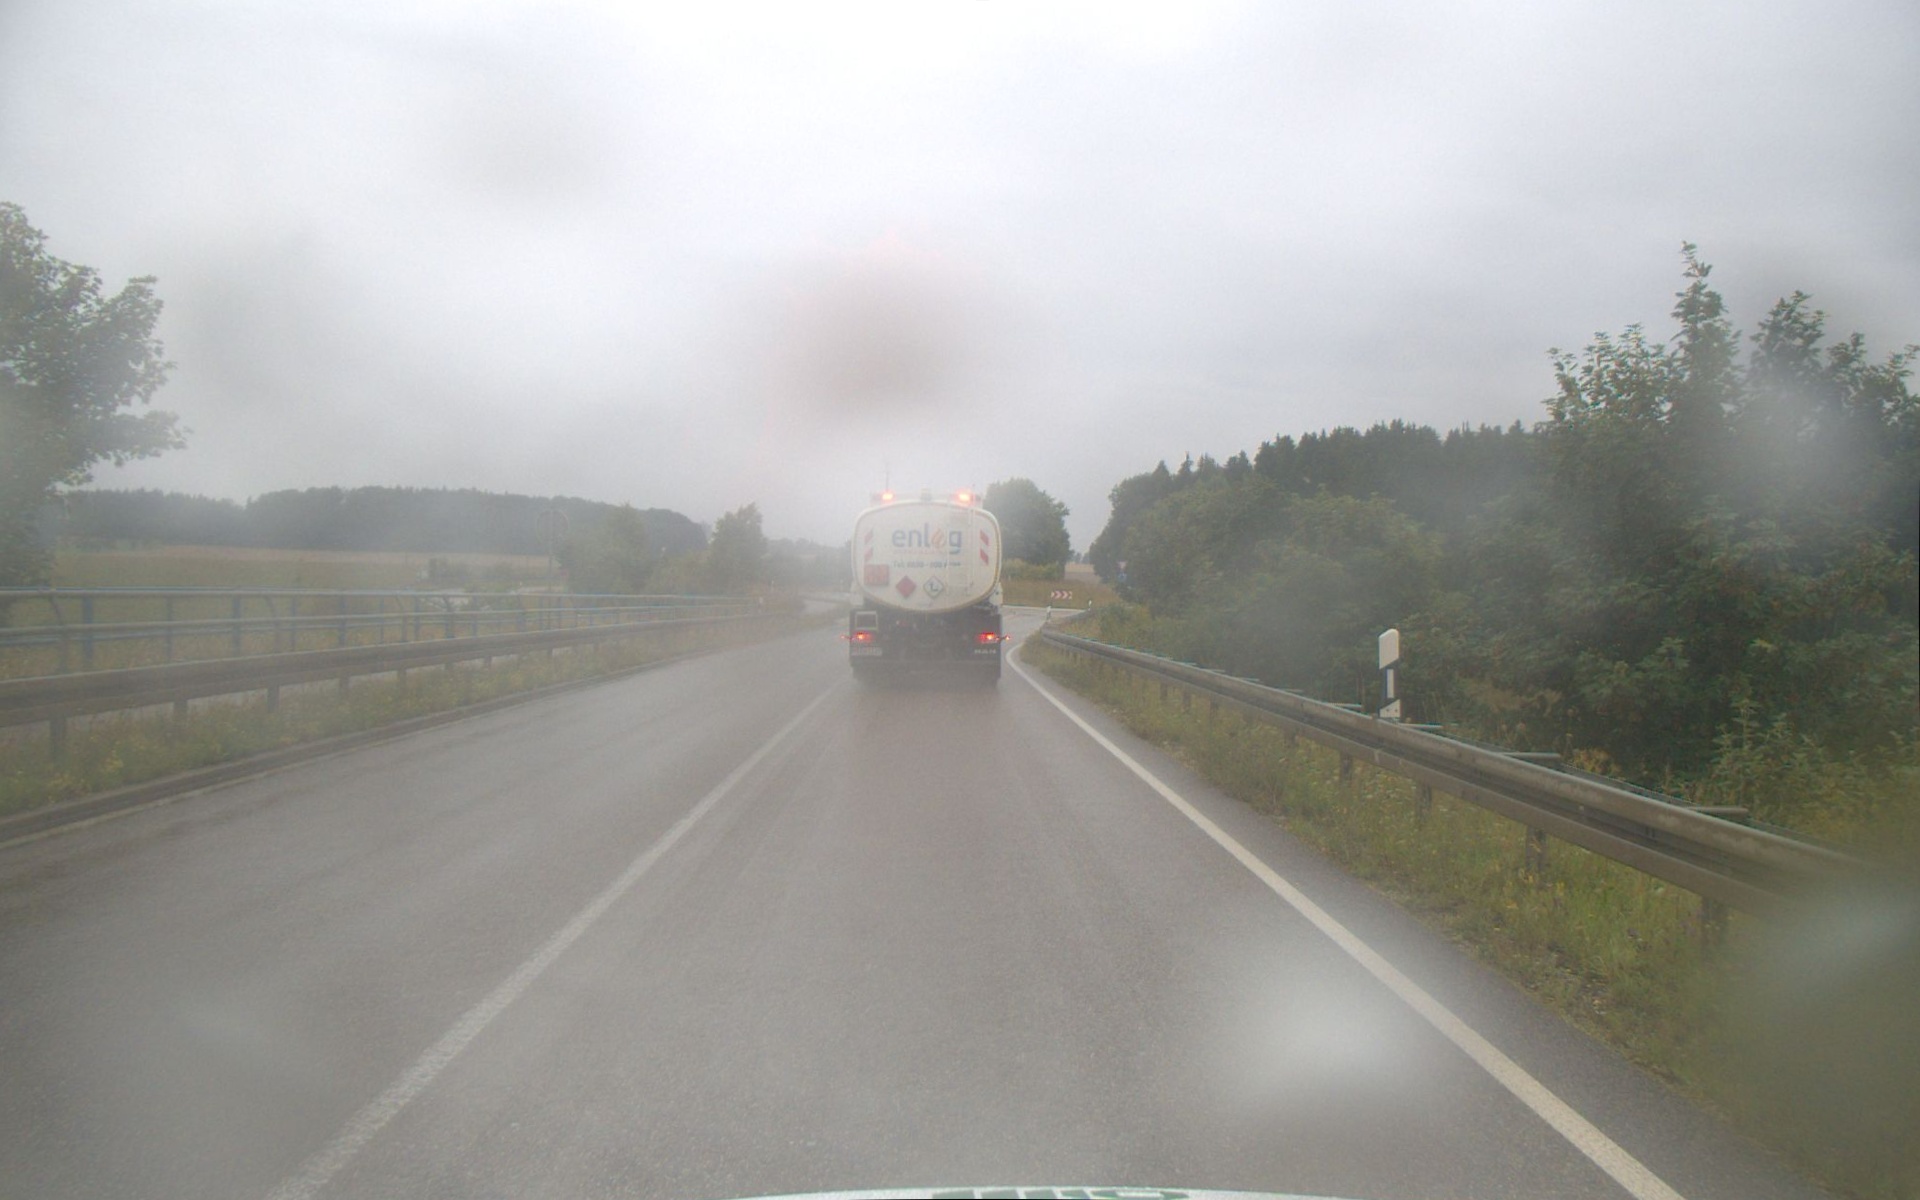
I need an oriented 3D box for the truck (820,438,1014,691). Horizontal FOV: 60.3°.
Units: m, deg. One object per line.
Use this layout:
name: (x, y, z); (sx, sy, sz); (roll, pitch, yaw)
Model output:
truck: (-0.658, -0.598, 30.170); (2.977, 3.919, 8.822); (0, 1, 0)
